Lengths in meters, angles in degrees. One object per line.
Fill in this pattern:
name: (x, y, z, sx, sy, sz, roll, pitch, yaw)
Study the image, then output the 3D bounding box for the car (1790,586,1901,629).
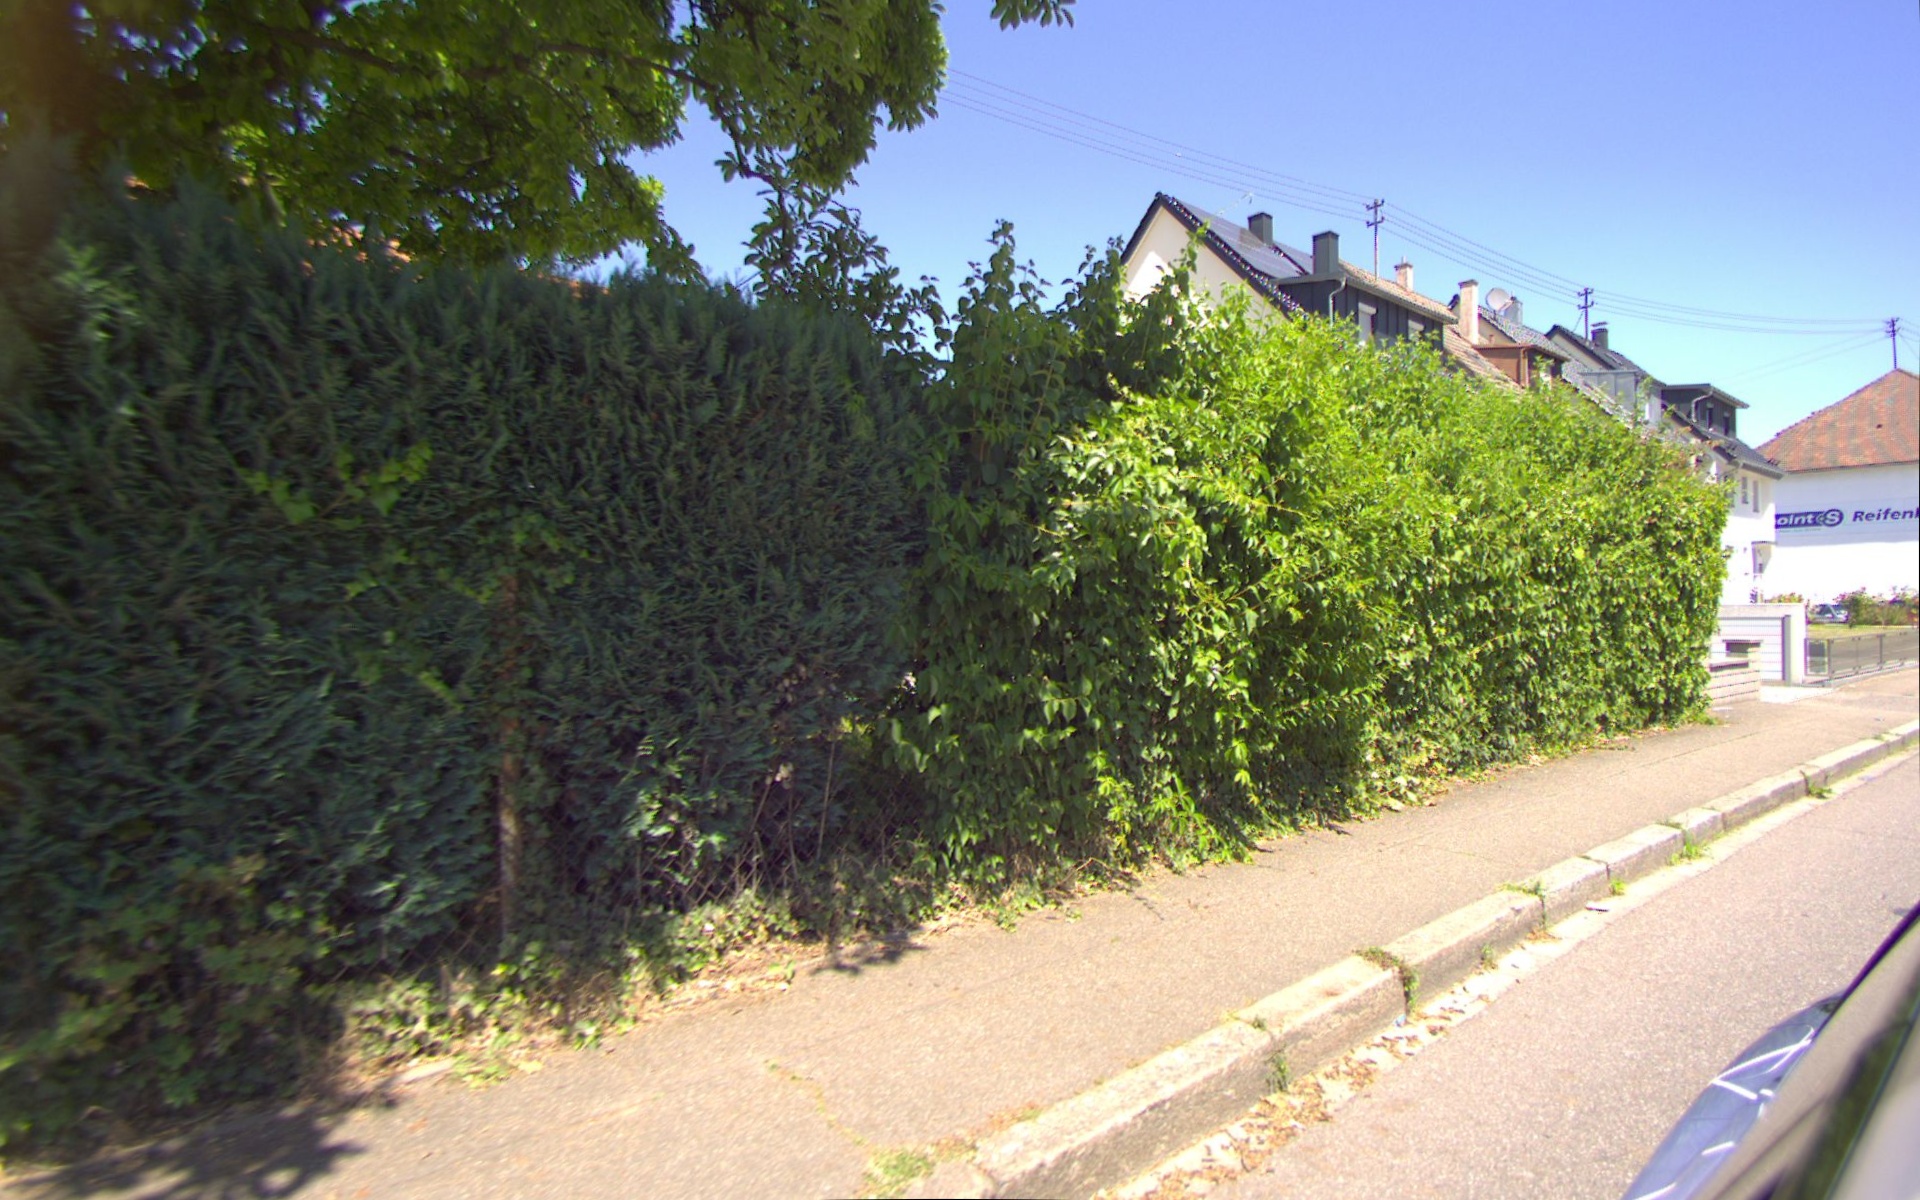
car: (37.922, 0.351, 43.481, 1.614, 1.663, 4.286, -4, -2, 13)
